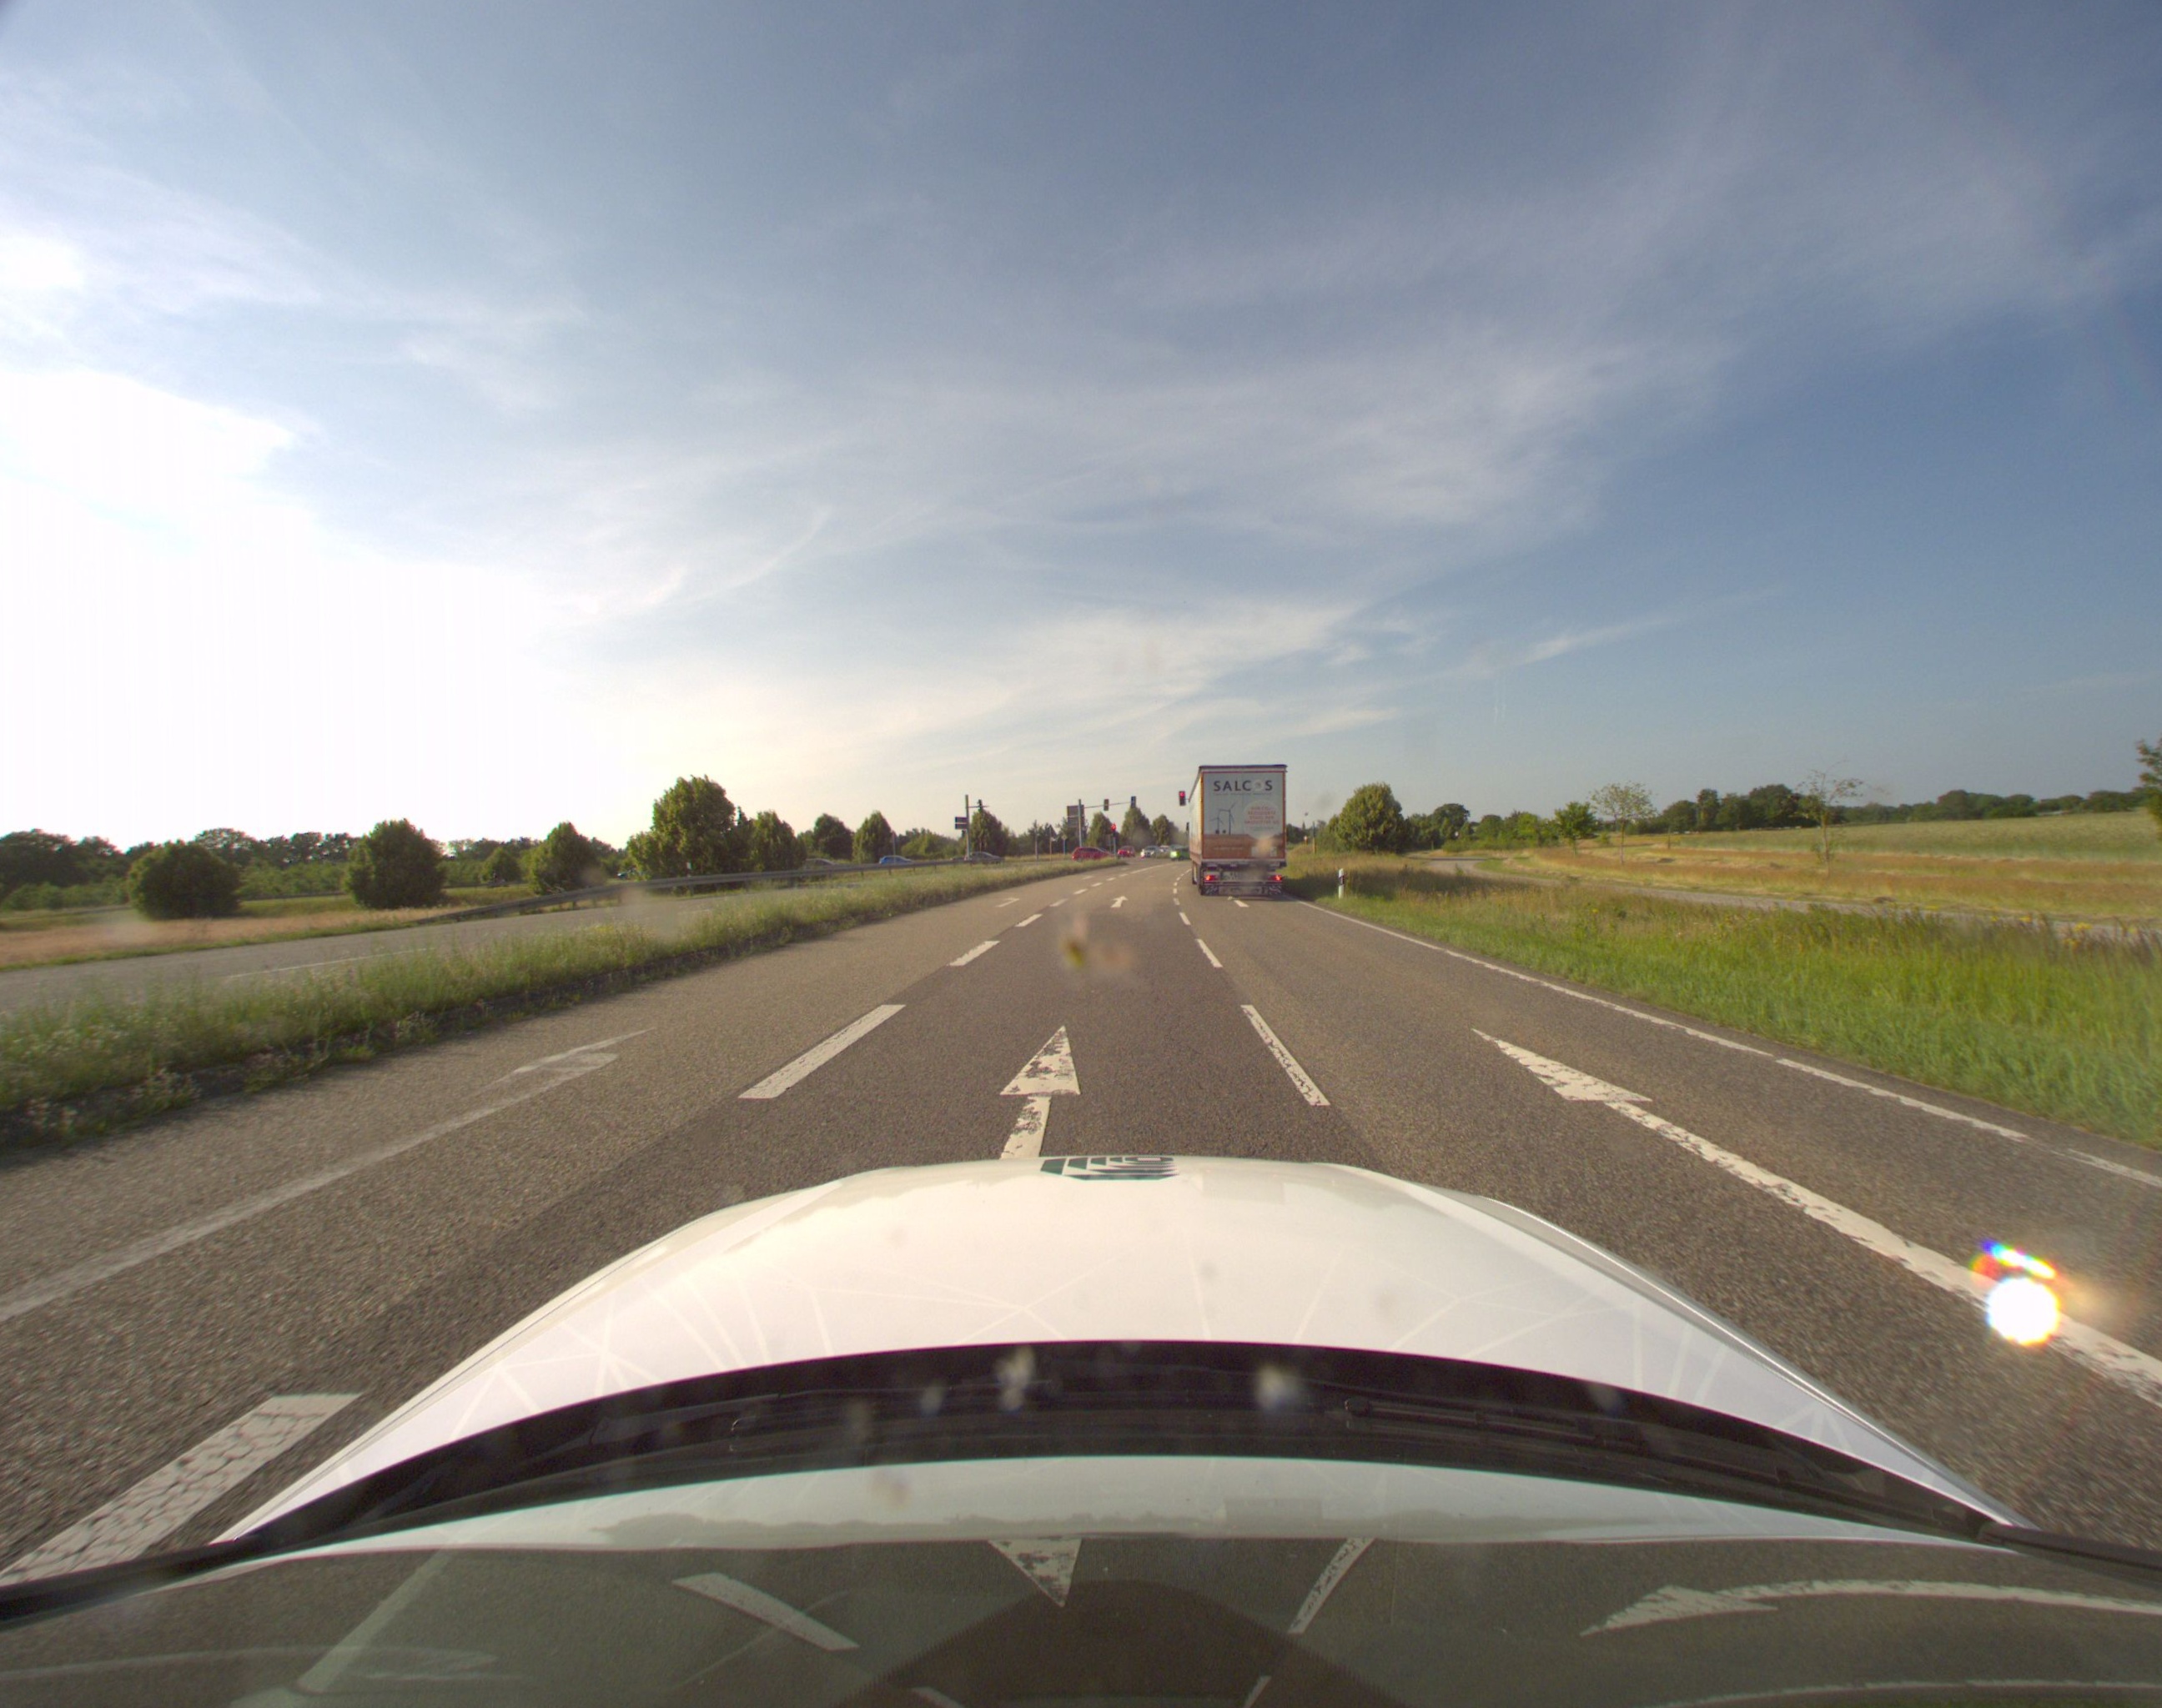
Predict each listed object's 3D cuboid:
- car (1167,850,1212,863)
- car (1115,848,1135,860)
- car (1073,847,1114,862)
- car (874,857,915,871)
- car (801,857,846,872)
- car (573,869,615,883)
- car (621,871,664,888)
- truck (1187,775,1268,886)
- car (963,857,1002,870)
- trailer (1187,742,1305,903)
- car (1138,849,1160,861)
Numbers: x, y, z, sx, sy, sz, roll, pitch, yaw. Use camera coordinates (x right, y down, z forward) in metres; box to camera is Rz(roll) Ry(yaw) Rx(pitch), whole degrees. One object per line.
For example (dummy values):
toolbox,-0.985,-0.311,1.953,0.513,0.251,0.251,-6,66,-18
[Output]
car,11.499,0.270,86.535,4.428,1.417,1.911,0,-1,-14
car,5.855,-0.057,108.302,1.706,1.488,3.823,-2,0,19
car,1.356,0.050,85.610,4.249,1.565,1.901,0,-1,1
car,-20.667,1.105,90.344,3.942,1.492,1.786,-1,0,15
car,-29.007,1.184,91.818,4.488,1.565,1.821,-1,0,9
car,-60.357,2.740,100.941,3.980,1.667,1.997,0,-1,-5
car,-52.304,3.021,97.204,3.975,2.014,1.999,0,-1,-1
truck,6.531,-0.983,37.107,3.282,4.657,5.743,0,0,7
car,-10.562,1.034,87.637,3.759,1.416,1.926,-1,-1,10
trailer,5.695,-0.954,30.486,3.264,4.681,13.173,-1,0,7
car,8.877,0.089,105.479,1.771,1.488,4.673,-2,0,18
